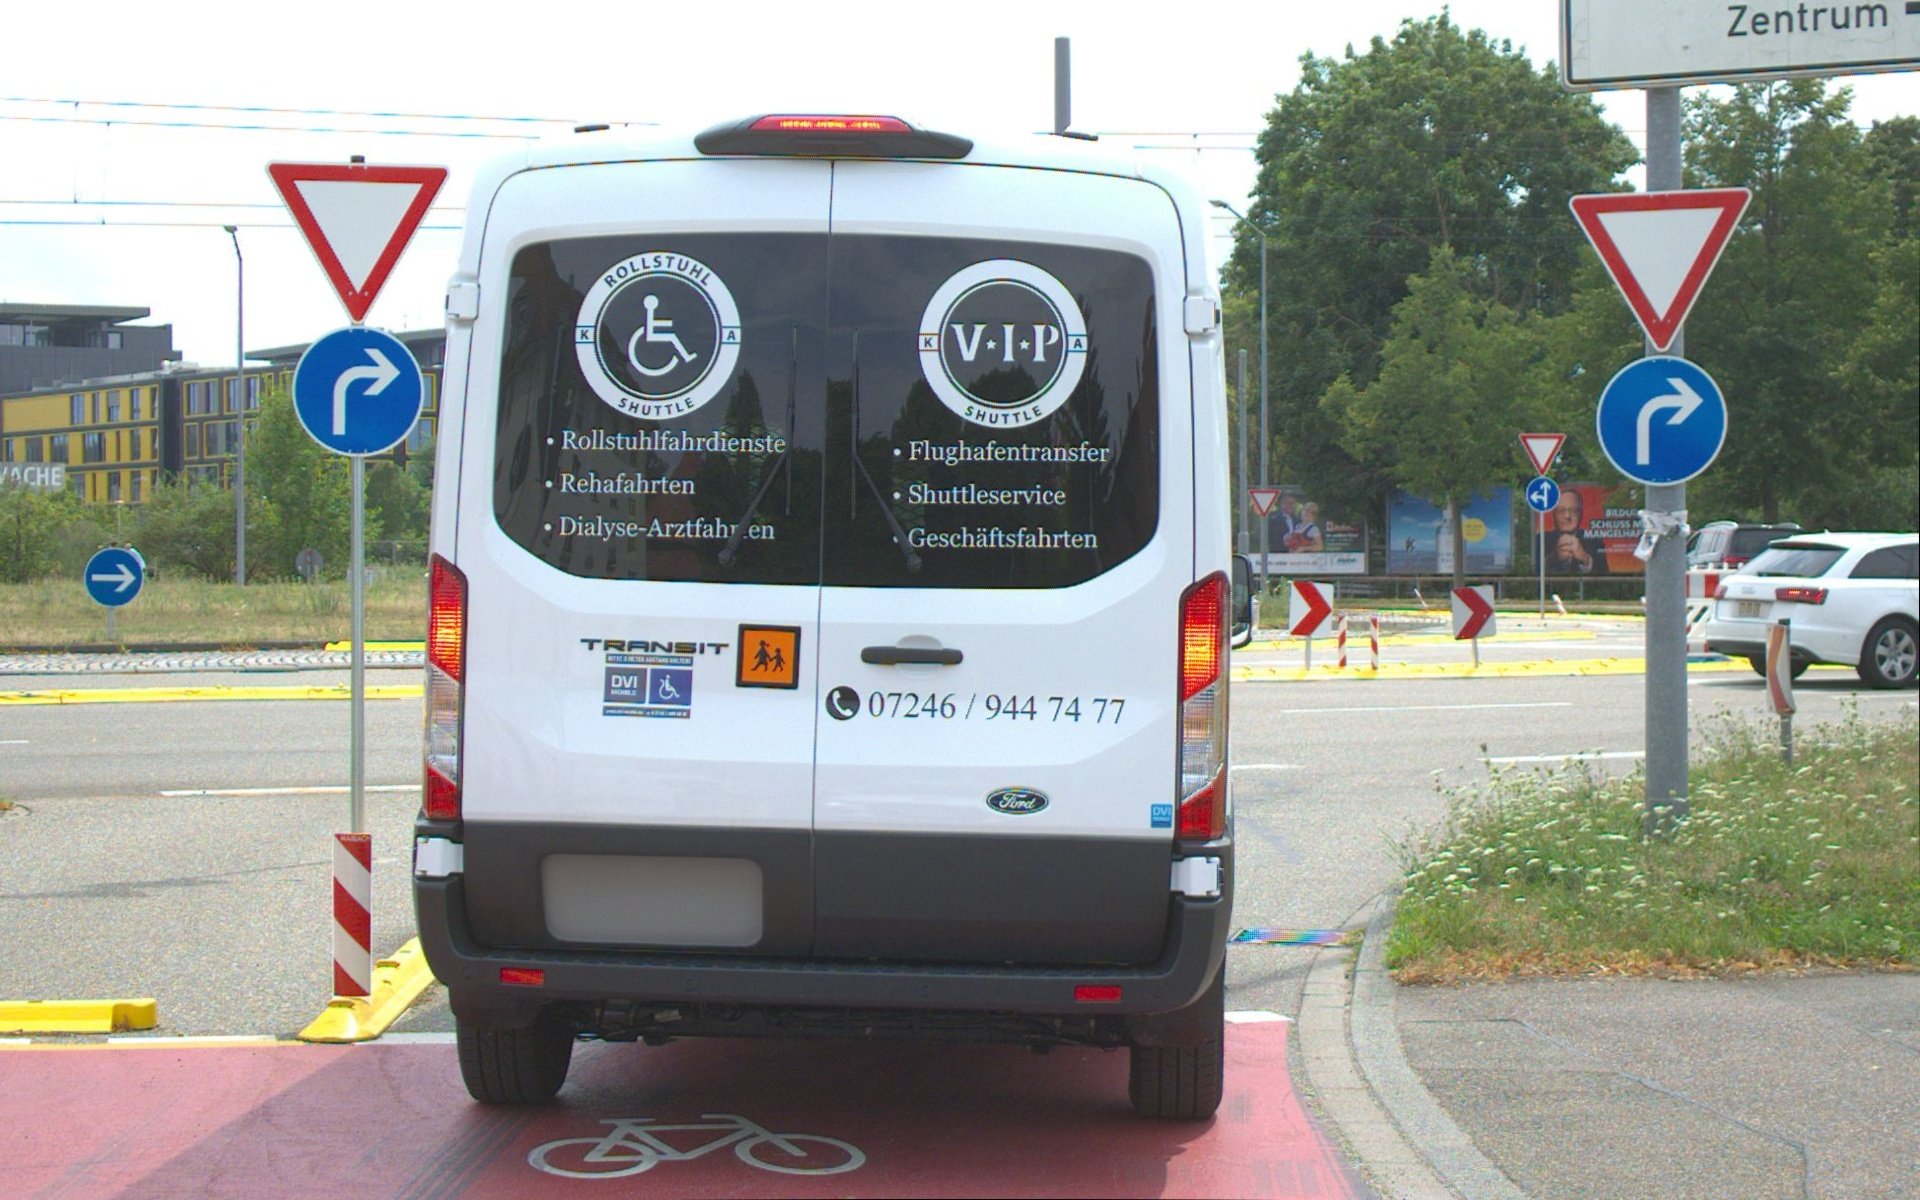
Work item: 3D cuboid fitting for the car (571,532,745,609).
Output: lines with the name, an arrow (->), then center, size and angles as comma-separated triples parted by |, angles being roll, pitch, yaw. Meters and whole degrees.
car -> -8.312, -0.788, 94.605 | 4.346, 2.007, 2.000 | 1, -1, -22

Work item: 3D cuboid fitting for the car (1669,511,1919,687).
car -> 9.420, -0.032, 33.261 | 4.736, 1.612, 2.000 | 0, 1, -24

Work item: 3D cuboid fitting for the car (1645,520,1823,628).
car -> 12.936, -0.399, 57.668 | 1.993, 1.744, 4.000 | 0, -1, -1

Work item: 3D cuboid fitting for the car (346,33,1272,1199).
car -> -0.136, 0.030, 10.655 | 2.126, 2.688, 5.631 | 0, 1, 5

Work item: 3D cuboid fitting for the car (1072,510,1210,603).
car -> 4.563, -1.076, 87.322 | 2.024, 2.271, 4.160 | 1, 0, -20

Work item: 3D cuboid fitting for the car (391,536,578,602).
car -> -12.210, -0.795, 88.310 | 4.341, 1.660, 1.938 | 0, 1, -32

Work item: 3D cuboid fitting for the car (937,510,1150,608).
car -> 1.749, -0.869, 72.009 | 3.992, 2.007, 1.997 | 0, 1, 25
